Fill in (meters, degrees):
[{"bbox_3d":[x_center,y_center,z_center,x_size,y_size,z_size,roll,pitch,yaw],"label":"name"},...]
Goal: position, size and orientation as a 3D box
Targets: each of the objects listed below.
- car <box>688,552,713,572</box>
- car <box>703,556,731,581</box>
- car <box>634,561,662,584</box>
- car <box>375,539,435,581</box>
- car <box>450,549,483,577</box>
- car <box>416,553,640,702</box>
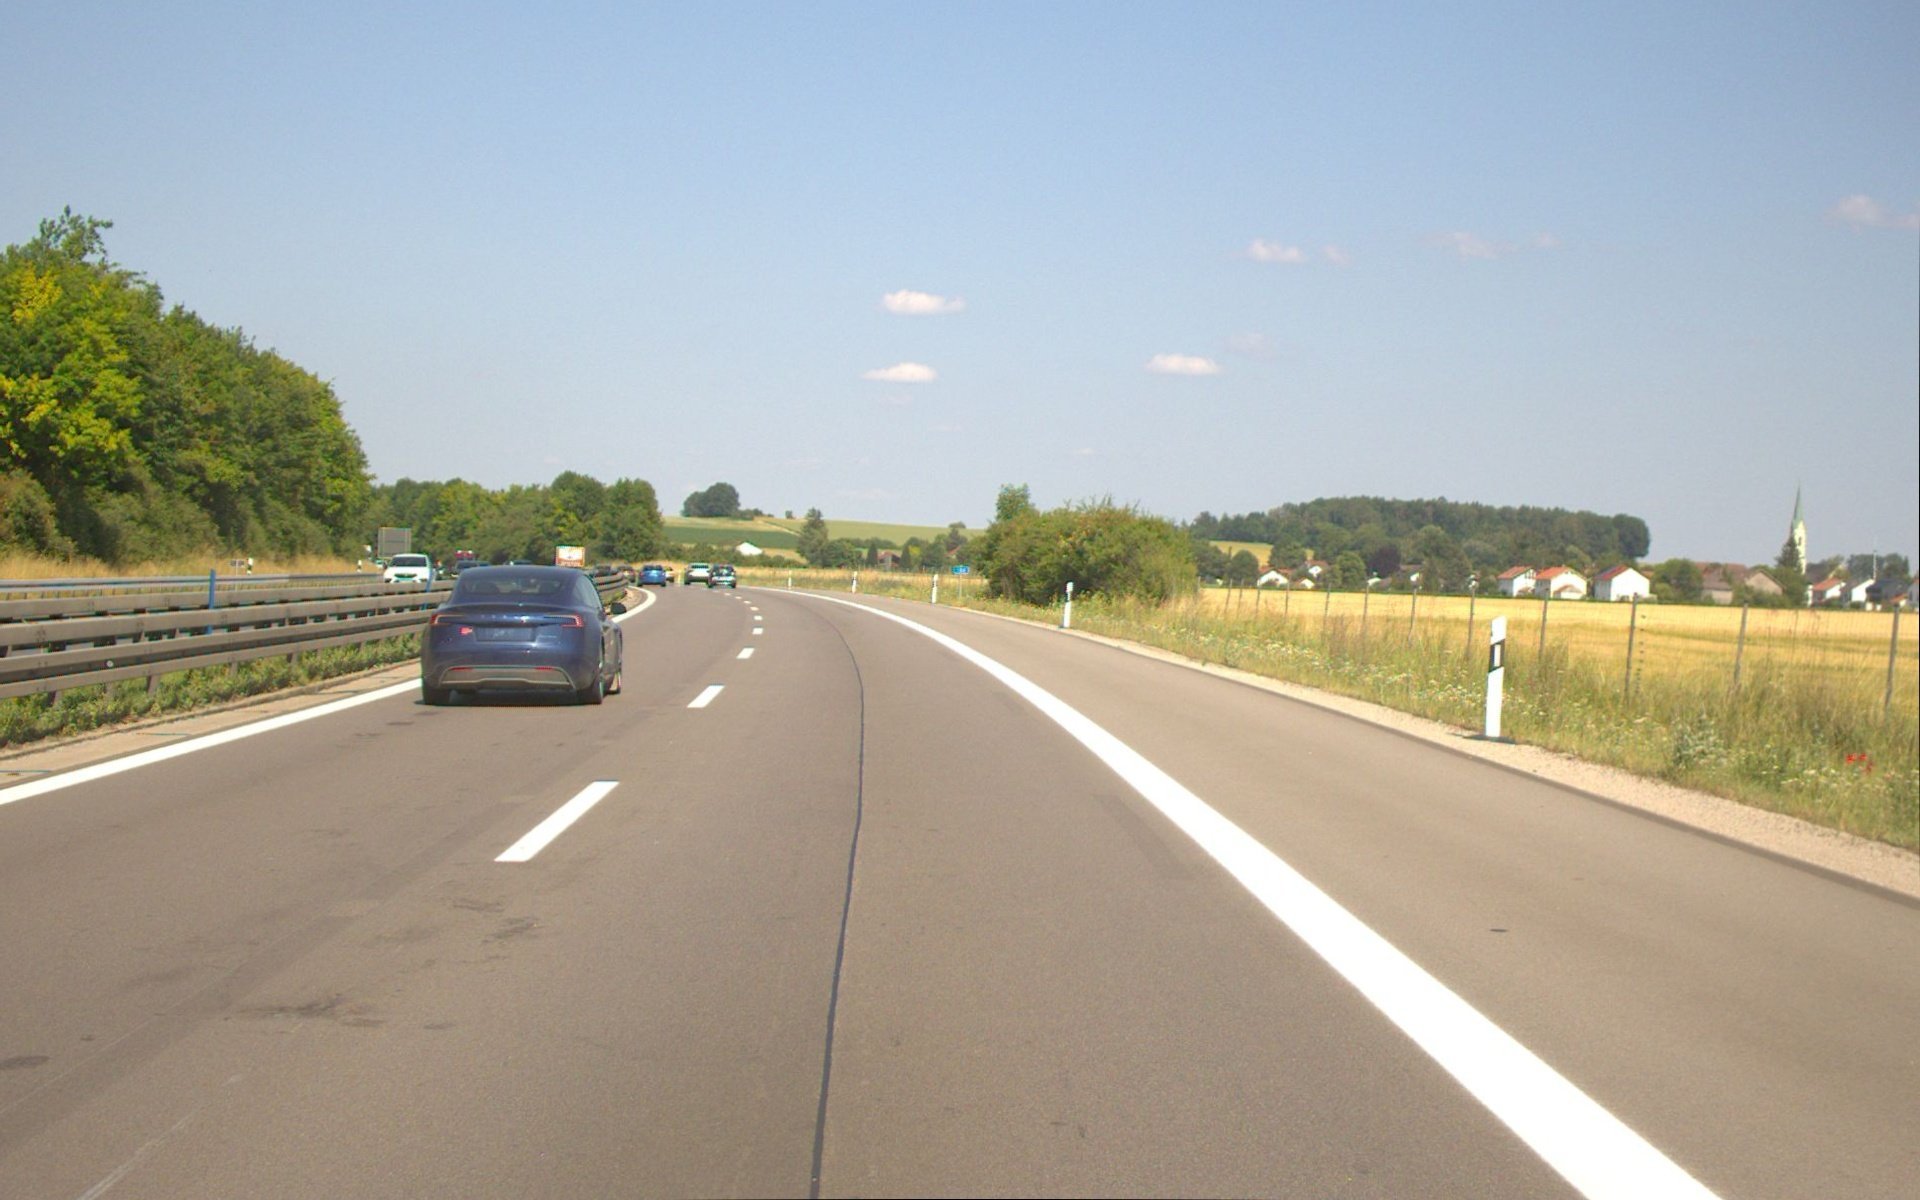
[{"bbox_3d":[-18.722,-2.730,247.594,1.675,1.448,3.593,1,1,-6],"label":"car"},{"bbox_3d":[-14.893,-1.926,210.493,1.676,1.448,3.592,1,1,-4],"label":"car"},{"bbox_3d":[-20.091,-1.765,221.530,1.676,1.448,3.592,1,1,-4],"label":"car"},{"bbox_3d":[-21.547,-1.552,133.586,1.751,1.559,4.581,2,1,-3],"label":"car"},{"bbox_3d":[-27.182,-2.050,189.428,1.578,1.457,4.154,1,1,-5],"label":"car"},{"bbox_3d":[-4.597,0.237,37.359,1.847,1.428,5.866,1,1,-2],"label":"car"}]
